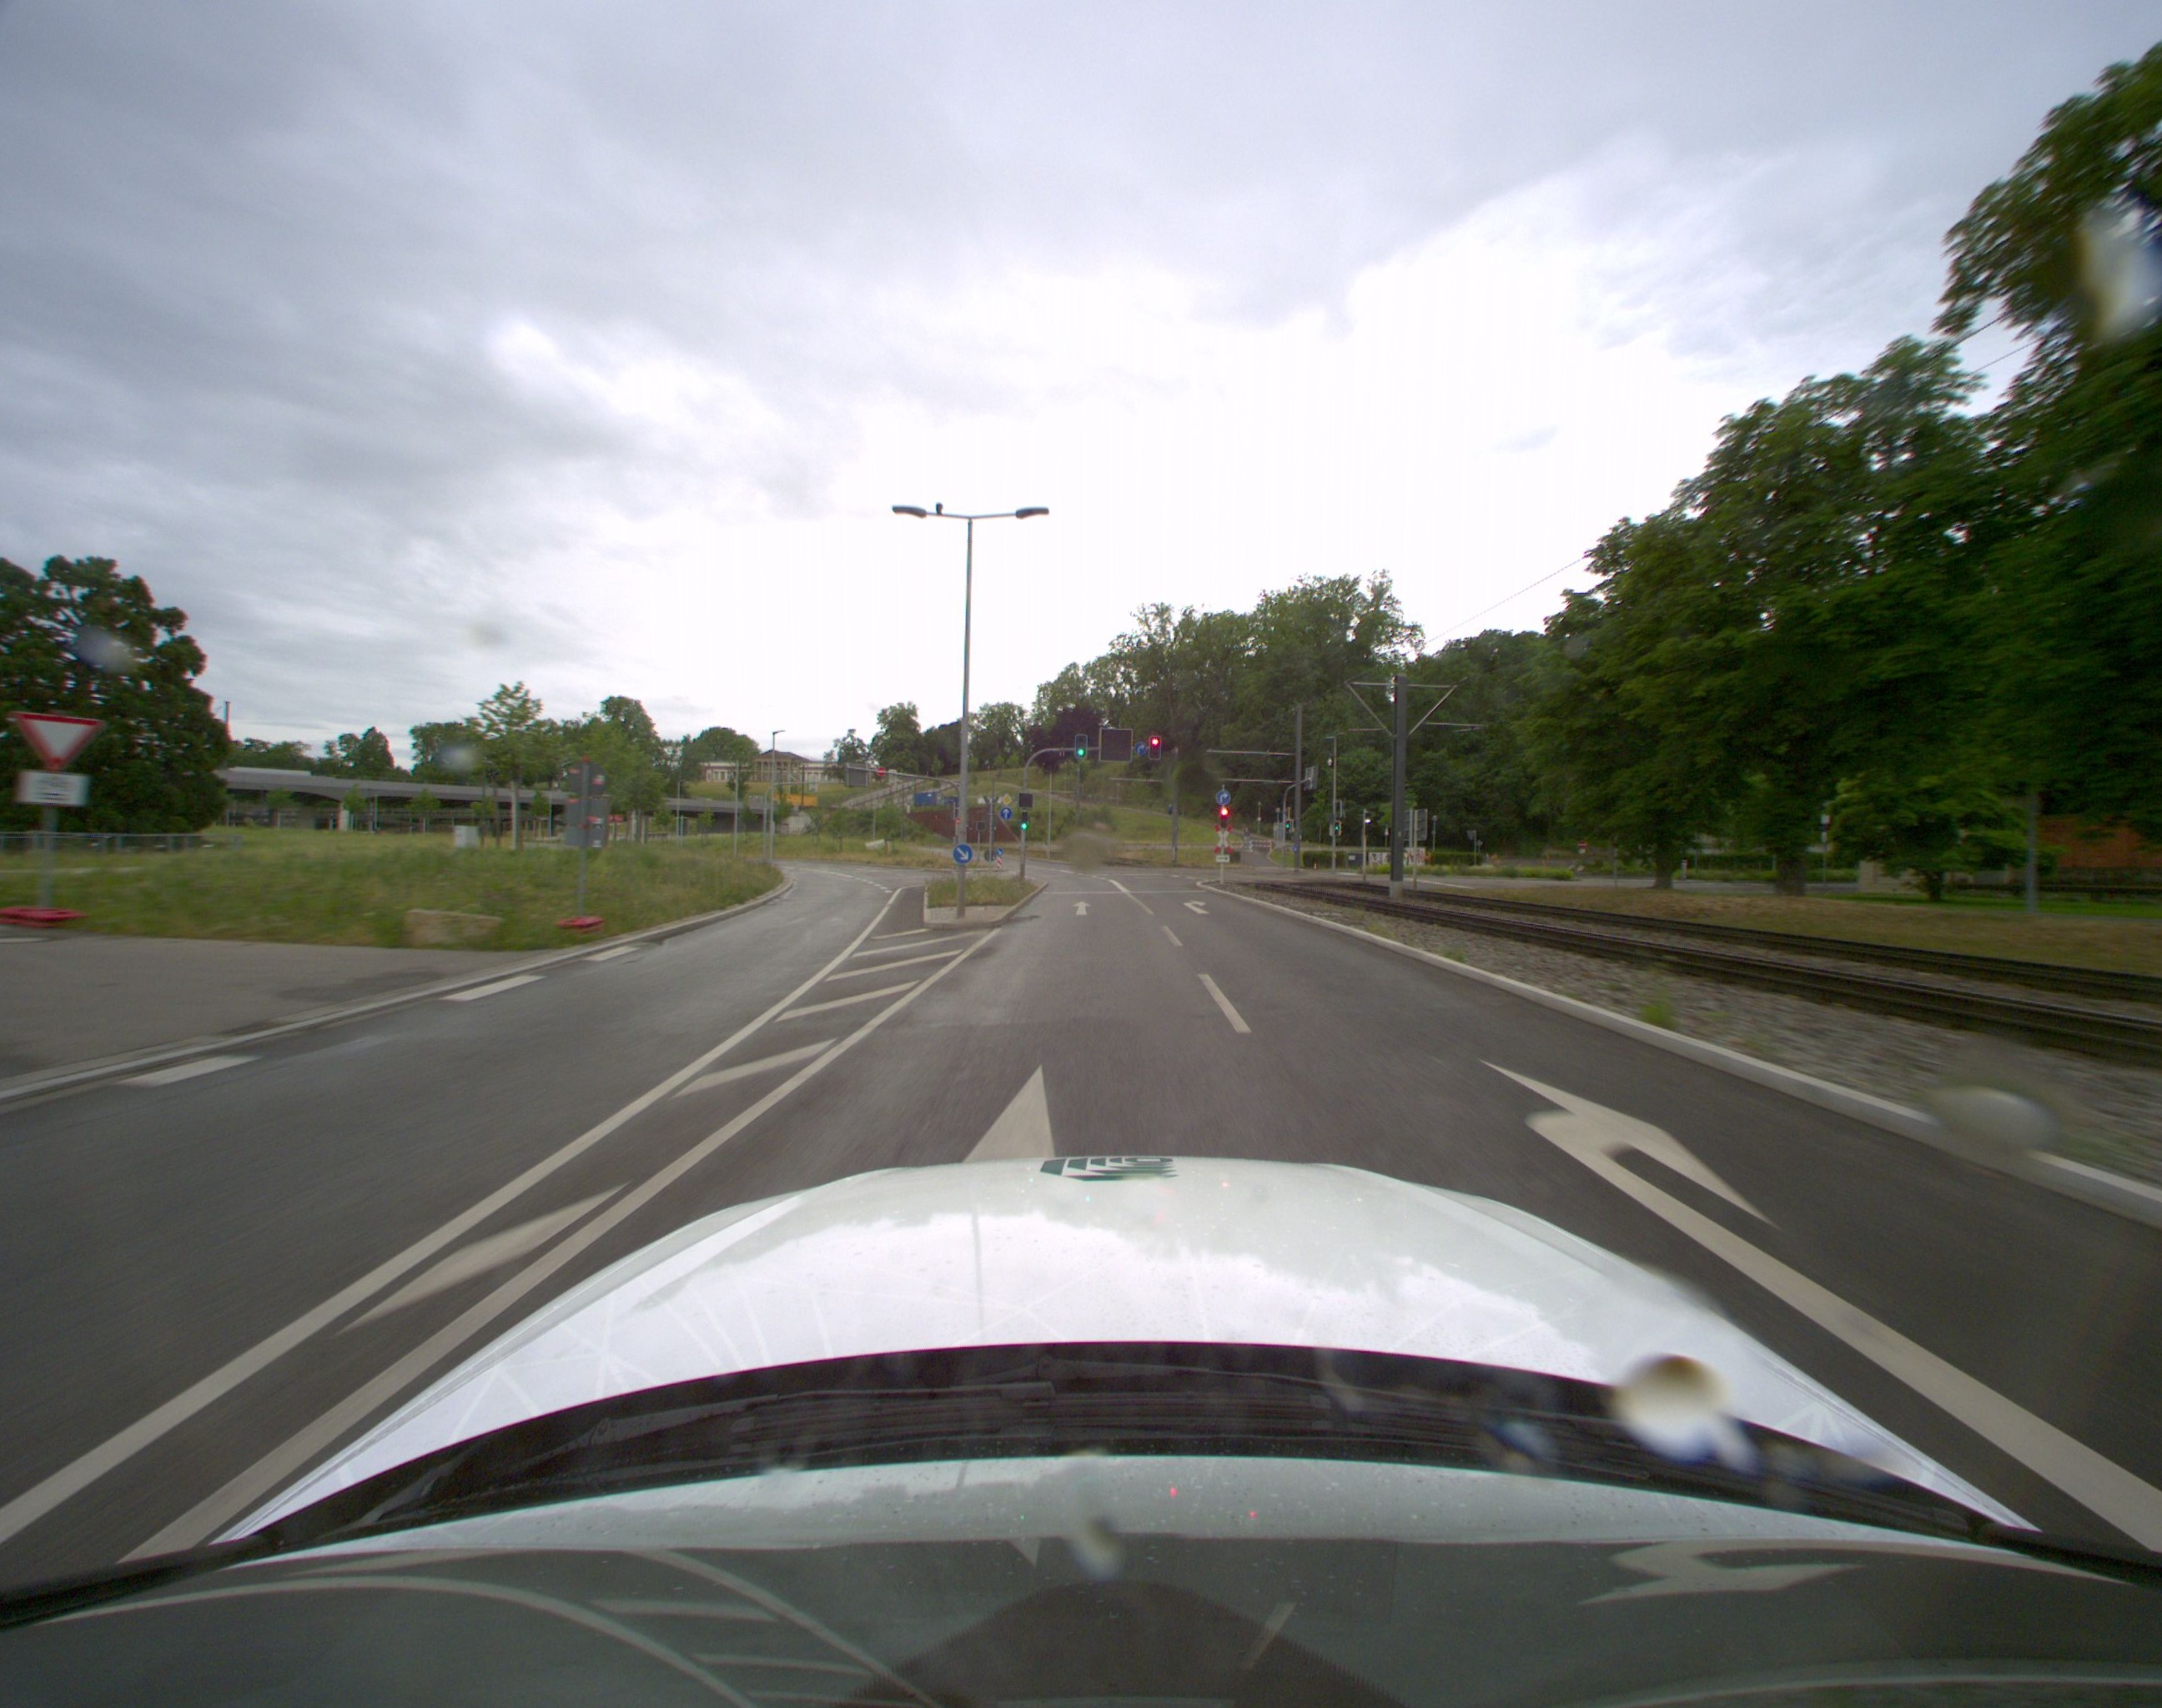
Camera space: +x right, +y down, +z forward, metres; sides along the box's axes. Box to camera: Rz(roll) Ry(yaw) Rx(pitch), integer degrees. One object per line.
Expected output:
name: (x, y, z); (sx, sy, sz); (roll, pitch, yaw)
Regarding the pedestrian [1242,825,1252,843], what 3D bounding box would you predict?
pedestrian: (16.547, -2.002, 81.179); (0.951, 1.781, 1.126); (3, 1, 13)
